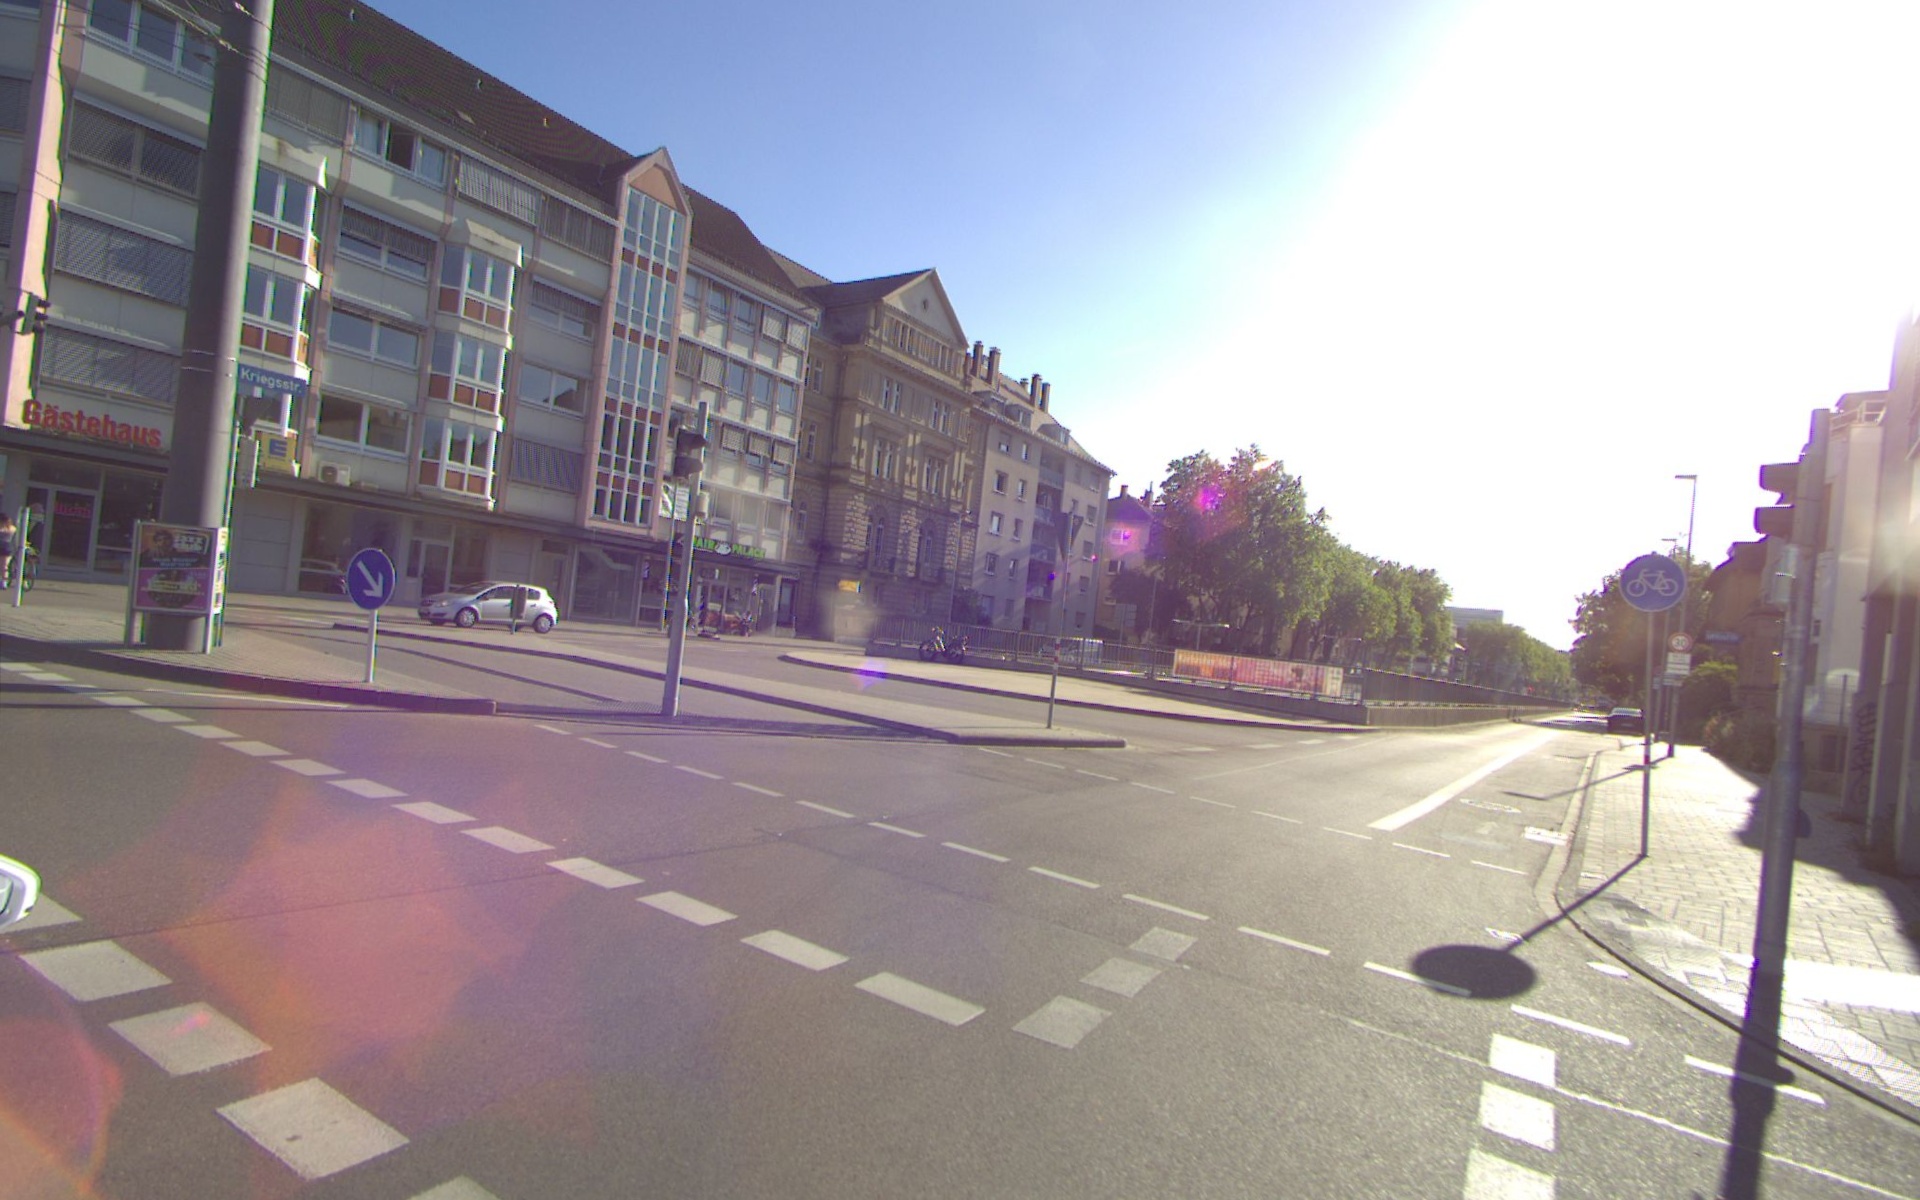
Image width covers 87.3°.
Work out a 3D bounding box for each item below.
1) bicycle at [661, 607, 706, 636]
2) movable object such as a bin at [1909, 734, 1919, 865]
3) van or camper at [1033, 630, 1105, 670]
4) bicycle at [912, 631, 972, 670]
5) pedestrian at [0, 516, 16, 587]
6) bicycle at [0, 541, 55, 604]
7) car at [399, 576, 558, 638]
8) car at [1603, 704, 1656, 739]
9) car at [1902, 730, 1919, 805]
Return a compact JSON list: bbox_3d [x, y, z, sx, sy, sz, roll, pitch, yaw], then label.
[{"bbox_3d":[-12.141,0.963,44.177,0.528,1.061,1.970,5,-3,32],"label":"bicycle"},{"bbox_3d":[12.112,2.390,11.677,1.432,1.486,1.907,3,-3,41],"label":"movable object such as a bin"},{"bbox_3d":[6.627,3.019,60.614,2.009,1.975,5.250,6,-2,33],"label":"van or camper"},{"bbox_3d":[-0.631,1.726,34.470,1.964,1.092,0.596,5,-3,34],"label":"bicycle"},{"bbox_3d":[-21.992,-1.138,22.721,0.851,1.573,0.527,6,-1,22],"label":"pedestrian"},{"bbox_3d":[-21.631,-0.668,22.983,1.873,1.299,0.545,5,-2,22],"label":"bicycle"},{"bbox_3d":[-14.372,0.231,30.213,1.776,1.448,3.843,3,-4,35],"label":"car"},{"bbox_3d":[36.211,6.589,54.376,1.667,1.615,3.873,5,-2,43],"label":"car"},{"bbox_3d":[22.644,3.797,21.046,3.963,1.576,1.797,5,-2,35],"label":"car"}]
